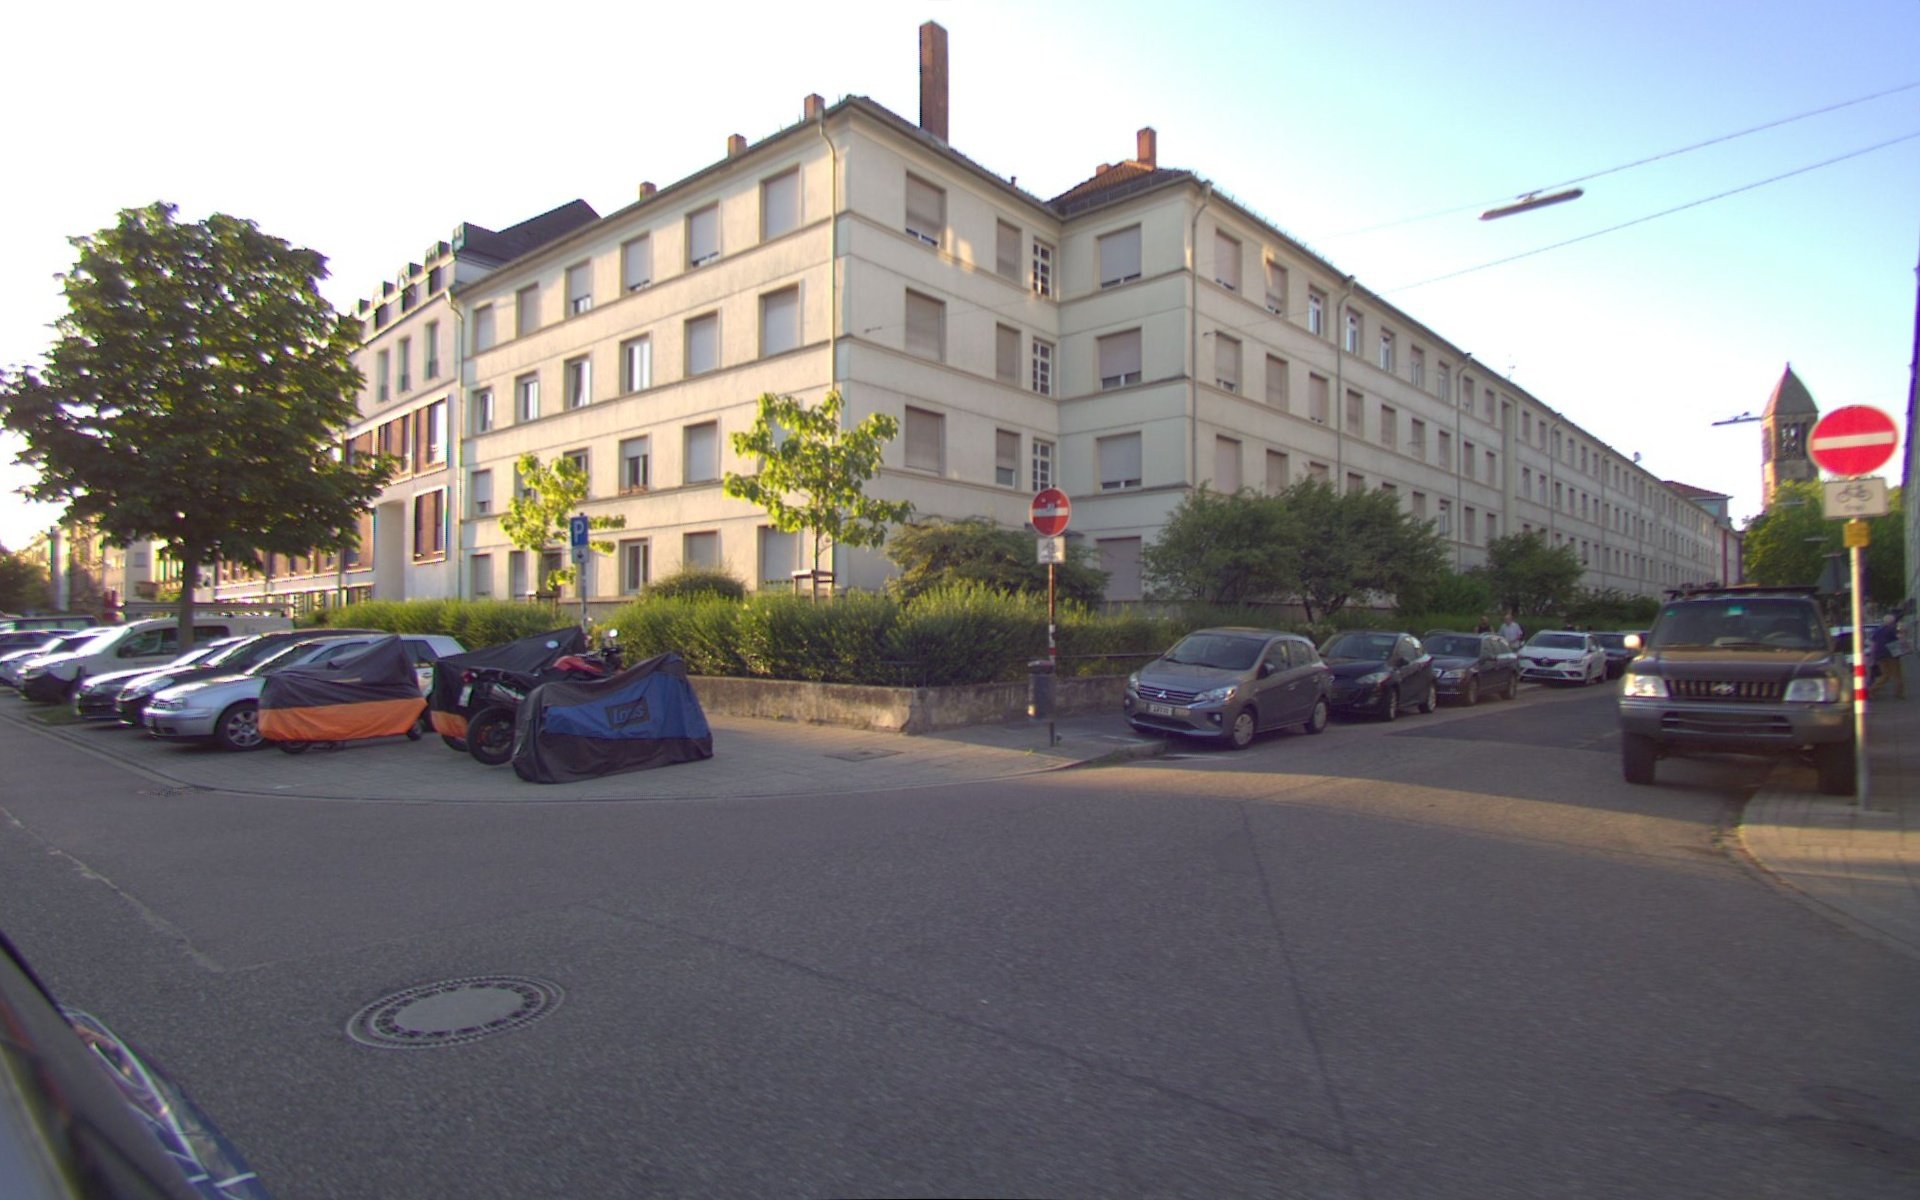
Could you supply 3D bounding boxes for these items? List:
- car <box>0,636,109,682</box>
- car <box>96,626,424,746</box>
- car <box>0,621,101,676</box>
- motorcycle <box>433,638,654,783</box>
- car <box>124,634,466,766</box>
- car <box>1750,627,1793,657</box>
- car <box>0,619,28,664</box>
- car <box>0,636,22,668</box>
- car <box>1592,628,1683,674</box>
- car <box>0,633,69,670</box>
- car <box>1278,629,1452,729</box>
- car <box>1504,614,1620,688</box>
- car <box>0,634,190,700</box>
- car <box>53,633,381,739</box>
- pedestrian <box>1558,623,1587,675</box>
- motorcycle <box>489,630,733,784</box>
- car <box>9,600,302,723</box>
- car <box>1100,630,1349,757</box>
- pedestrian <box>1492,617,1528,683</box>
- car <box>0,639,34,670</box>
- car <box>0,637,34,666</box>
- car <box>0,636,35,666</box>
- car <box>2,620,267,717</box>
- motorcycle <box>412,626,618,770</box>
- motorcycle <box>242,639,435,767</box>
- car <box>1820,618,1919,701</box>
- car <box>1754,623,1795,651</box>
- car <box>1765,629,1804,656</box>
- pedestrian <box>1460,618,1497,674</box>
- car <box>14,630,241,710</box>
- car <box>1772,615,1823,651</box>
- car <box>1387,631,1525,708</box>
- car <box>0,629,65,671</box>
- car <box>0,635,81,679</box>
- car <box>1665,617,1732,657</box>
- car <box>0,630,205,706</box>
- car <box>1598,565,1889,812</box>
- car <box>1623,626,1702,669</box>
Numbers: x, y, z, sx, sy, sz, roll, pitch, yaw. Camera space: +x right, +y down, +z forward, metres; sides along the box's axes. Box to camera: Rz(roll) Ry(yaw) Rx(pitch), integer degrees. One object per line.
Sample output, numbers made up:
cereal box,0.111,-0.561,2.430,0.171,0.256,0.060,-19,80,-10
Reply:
car,-33.647,2.136,36.627,1.736,1.427,4.099,-2,0,38
car,-10.794,1.226,15.809,1.729,1.595,3.943,-2,-2,43
car,-37.262,1.904,40.065,2.001,2.070,4.799,-2,-2,45
motorcycle,-4.666,1.175,11.479,0.774,1.447,2.206,-2,-2,44
car,-9.079,1.258,14.025,1.690,1.517,3.673,-2,-2,42
car,57.563,2.984,71.779,2.000,2.029,3.943,-2,-3,43
car,-55.749,2.372,57.265,1.932,2.576,4.352,-2,-2,44
car,-50.416,2.703,51.528,3.842,1.629,1.700,0,-1,-45
car,24.369,1.796,36.355,2.001,1.542,3.941,-2,-3,44
car,-42.734,2.295,45.279,2.048,1.601,3.953,-2,-2,34
car,7.123,1.290,17.660,1.728,1.503,3.422,-2,-2,42
car,16.943,1.381,28.410,2.000,1.913,3.944,-2,-2,42
car,-23.906,1.782,27.567,1.826,1.462,4.364,-2,0,40
car,-12.692,1.374,17.492,1.851,1.416,4.279,-2,0,43
pedestrian,22.222,1.772,36.734,0.736,1.890,0.728,-2,-3,42
motorcycle,-3.710,1.067,10.936,0.881,1.447,2.356,-2,-2,44
car,-16.472,1.176,20.877,2.001,2.086,4.462,-4,0,45
car,3.783,1.182,14.147,1.828,1.475,3.724,-2,-2,43
pedestrian,16.017,1.456,29.474,0.736,1.890,0.728,-2,-3,42
car,-48.473,2.692,49.775,1.789,1.505,4.215,-2,-2,44
car,-53.654,2.838,55.358,1.706,1.536,4.289,-2,-1,43
car,-51.878,2.760,53.814,3.903,1.551,1.756,0,-1,-45
car,-18.397,1.447,22.697,1.944,1.815,4.372,-3,-1,44
motorcycle,-5.430,1.135,12.471,0.774,1.594,2.206,-2,-2,44
motorcycle,-7.805,1.237,12.807,0.720,1.447,1.968,-2,-2,36
car,19.505,1.214,21.553,1.650,1.615,3.403,-2,-2,42
car,54.554,2.475,67.737,1.795,1.828,3.943,-2,-3,43
car,63.345,3.228,77.764,2.000,2.029,3.943,-2,-3,43
pedestrian,15.412,1.356,30.085,0.736,1.649,0.805,-3,-3,42
car,-19.961,1.607,24.387,1.754,1.495,3.947,-3,1,40
car,46.129,1.775,55.718,2.000,1.900,3.944,-2,-2,42
car,10.489,1.387,21.285,1.641,1.423,3.634,-2,-2,42
car,-44.157,2.279,46.621,1.896,1.910,4.136,-2,-3,39
car,-35.658,2.155,37.973,1.652,1.504,3.845,-2,0,40
car,34.837,1.732,47.702,2.001,1.795,3.942,-2,-2,44
car,-22.009,1.666,25.765,1.812,1.633,4.198,-3,-1,42
car,8.316,0.771,10.731,1.998,2.029,4.530,-2,-2,40
car,28.700,1.935,41.324,2.001,1.665,3.941,-2,-3,44
